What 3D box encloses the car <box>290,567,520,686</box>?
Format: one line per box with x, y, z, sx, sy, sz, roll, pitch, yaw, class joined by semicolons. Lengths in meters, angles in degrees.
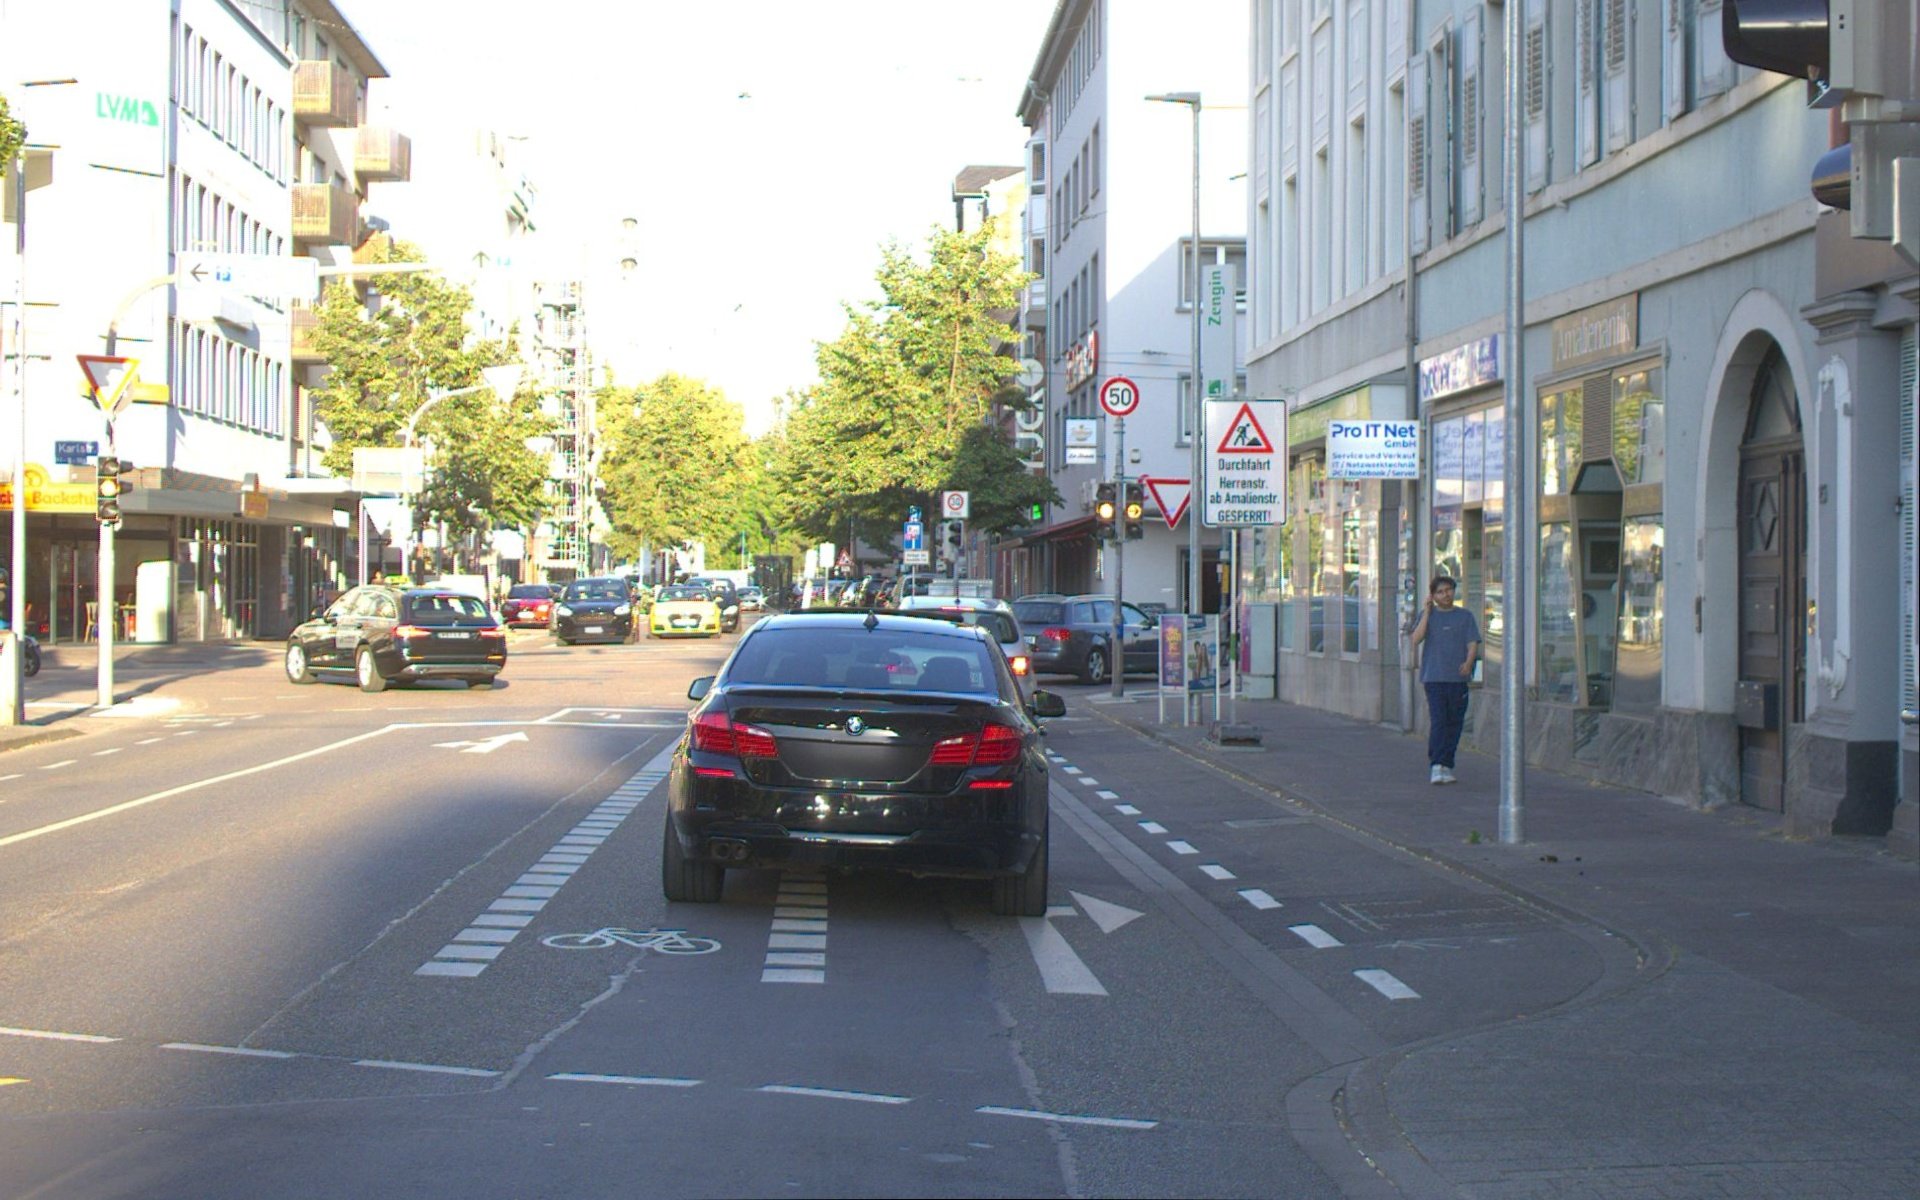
-7.955;0.351;49.001;1.872;1.590;4.450;1;0;-28;car

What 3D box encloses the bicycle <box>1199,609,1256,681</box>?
4.210;0.704;54.219;0.690;1.103;1.896;1;0;-2;bicycle

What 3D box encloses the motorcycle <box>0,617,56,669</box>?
-15.116;0.649;53.386;2.028;0.778;0.663;1;0;17;motorcycle

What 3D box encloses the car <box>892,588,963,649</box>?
-0.836;0.471;86.625;1.625;1.466;3.395;2;0;-3;car

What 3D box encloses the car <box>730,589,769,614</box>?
-11.107;0.060;181.127;1.733;1.288;4.001;1;0;-8;car

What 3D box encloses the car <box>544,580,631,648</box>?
-9.130;0.321;84.070;1.993;1.612;4.001;1;0;-8;car

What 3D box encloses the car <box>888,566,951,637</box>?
-1.116;0.037;93.026;1.421;1.848;3.053;2;0;-5;car

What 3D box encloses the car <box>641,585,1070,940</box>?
-0.604;0.741;18.046;1.903;1.535;4.450;3;0;-3;car

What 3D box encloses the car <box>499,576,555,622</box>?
-13.984;-0.044;110.951;1.733;1.457;4.001;1;0;-8;car

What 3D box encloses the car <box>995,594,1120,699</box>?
1.602;0.717;55.405;1.833;1.570;4.100;1;0;4;car

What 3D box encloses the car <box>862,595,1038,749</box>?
-0.135;0.757;38.358;1.832;1.570;4.100;1;0;-1;car

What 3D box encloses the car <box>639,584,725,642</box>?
-7.281;0.324;89.652;1.993;1.437;4.001;1;0;-8;car

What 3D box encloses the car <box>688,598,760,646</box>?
-6.632;0.602;96.440;1.733;1.288;4.001;1;0;-8;car

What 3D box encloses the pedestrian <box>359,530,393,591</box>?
-16.174;-1.083;95.211;0.823;1.671;0.871;0;0;-3;pedestrian

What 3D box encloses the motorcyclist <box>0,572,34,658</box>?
-15.020;0.229;53.312;0.992;1.315;0.767;1;0;19;motorcyclist

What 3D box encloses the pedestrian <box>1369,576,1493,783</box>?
3.781;0.627;27.664;0.823;1.636;0.871;0;0;-4;pedestrian
